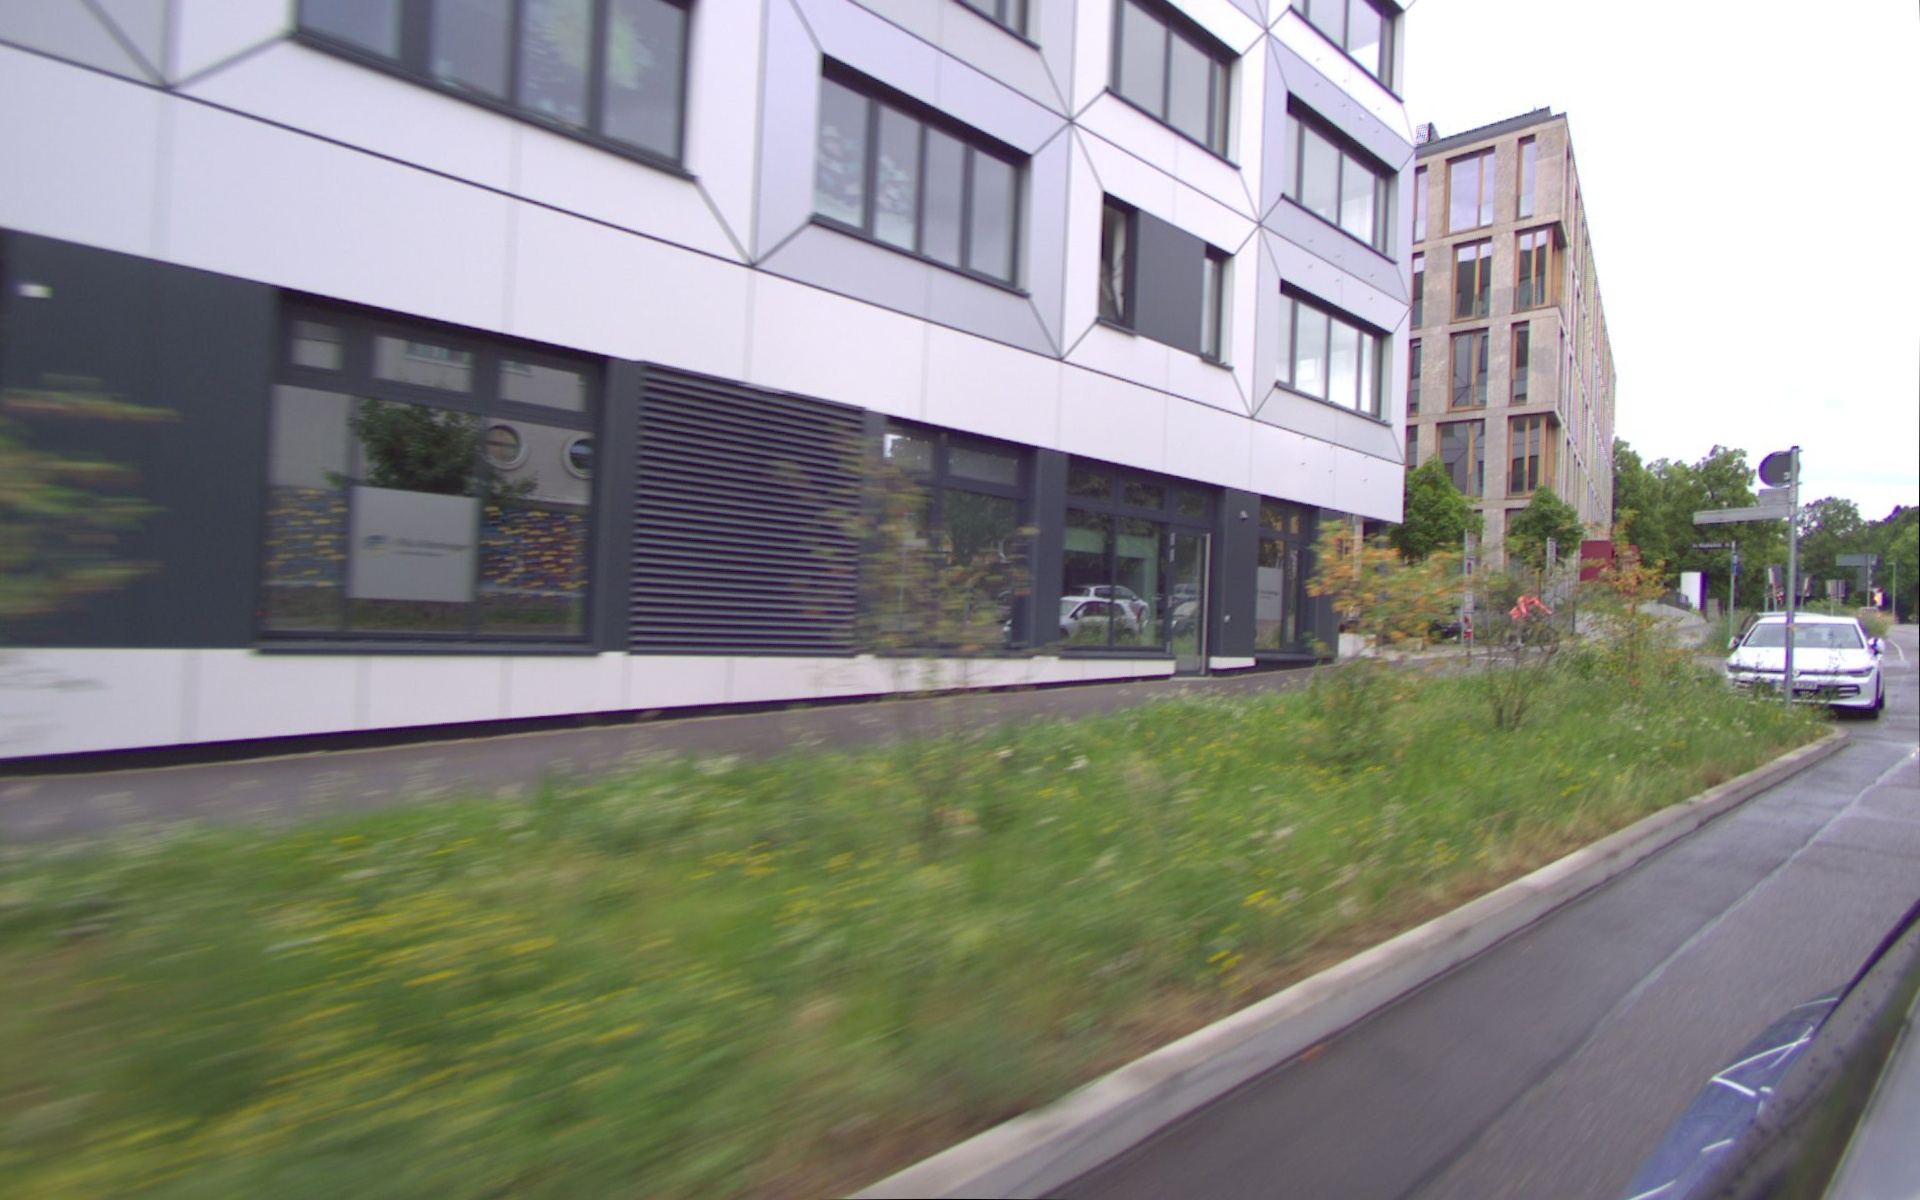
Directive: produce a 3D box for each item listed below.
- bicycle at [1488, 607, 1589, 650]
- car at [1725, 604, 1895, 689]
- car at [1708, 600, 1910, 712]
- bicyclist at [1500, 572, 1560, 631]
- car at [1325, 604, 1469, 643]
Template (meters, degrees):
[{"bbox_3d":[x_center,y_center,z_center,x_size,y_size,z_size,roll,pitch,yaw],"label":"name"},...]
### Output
[{"bbox_3d":[15.139,0.718,26.566,0.613,1.033,2.488,0,0,-20],"label":"bicycle"},{"bbox_3d":[16.408,0.819,19.761,2.036,1.477,4.006,0,-1,33],"label":"car"},{"bbox_3d":[13.309,0.757,15.770,2.040,1.483,4.429,-1,-1,45],"label":"car"},{"bbox_3d":[15.060,0.044,26.758,0.822,1.522,1.078,0,-1,-21],"label":"bicyclist"},{"bbox_3d":[14.995,0.777,34.845,4.230,1.261,1.701,-1,-1,45],"label":"car"}]
